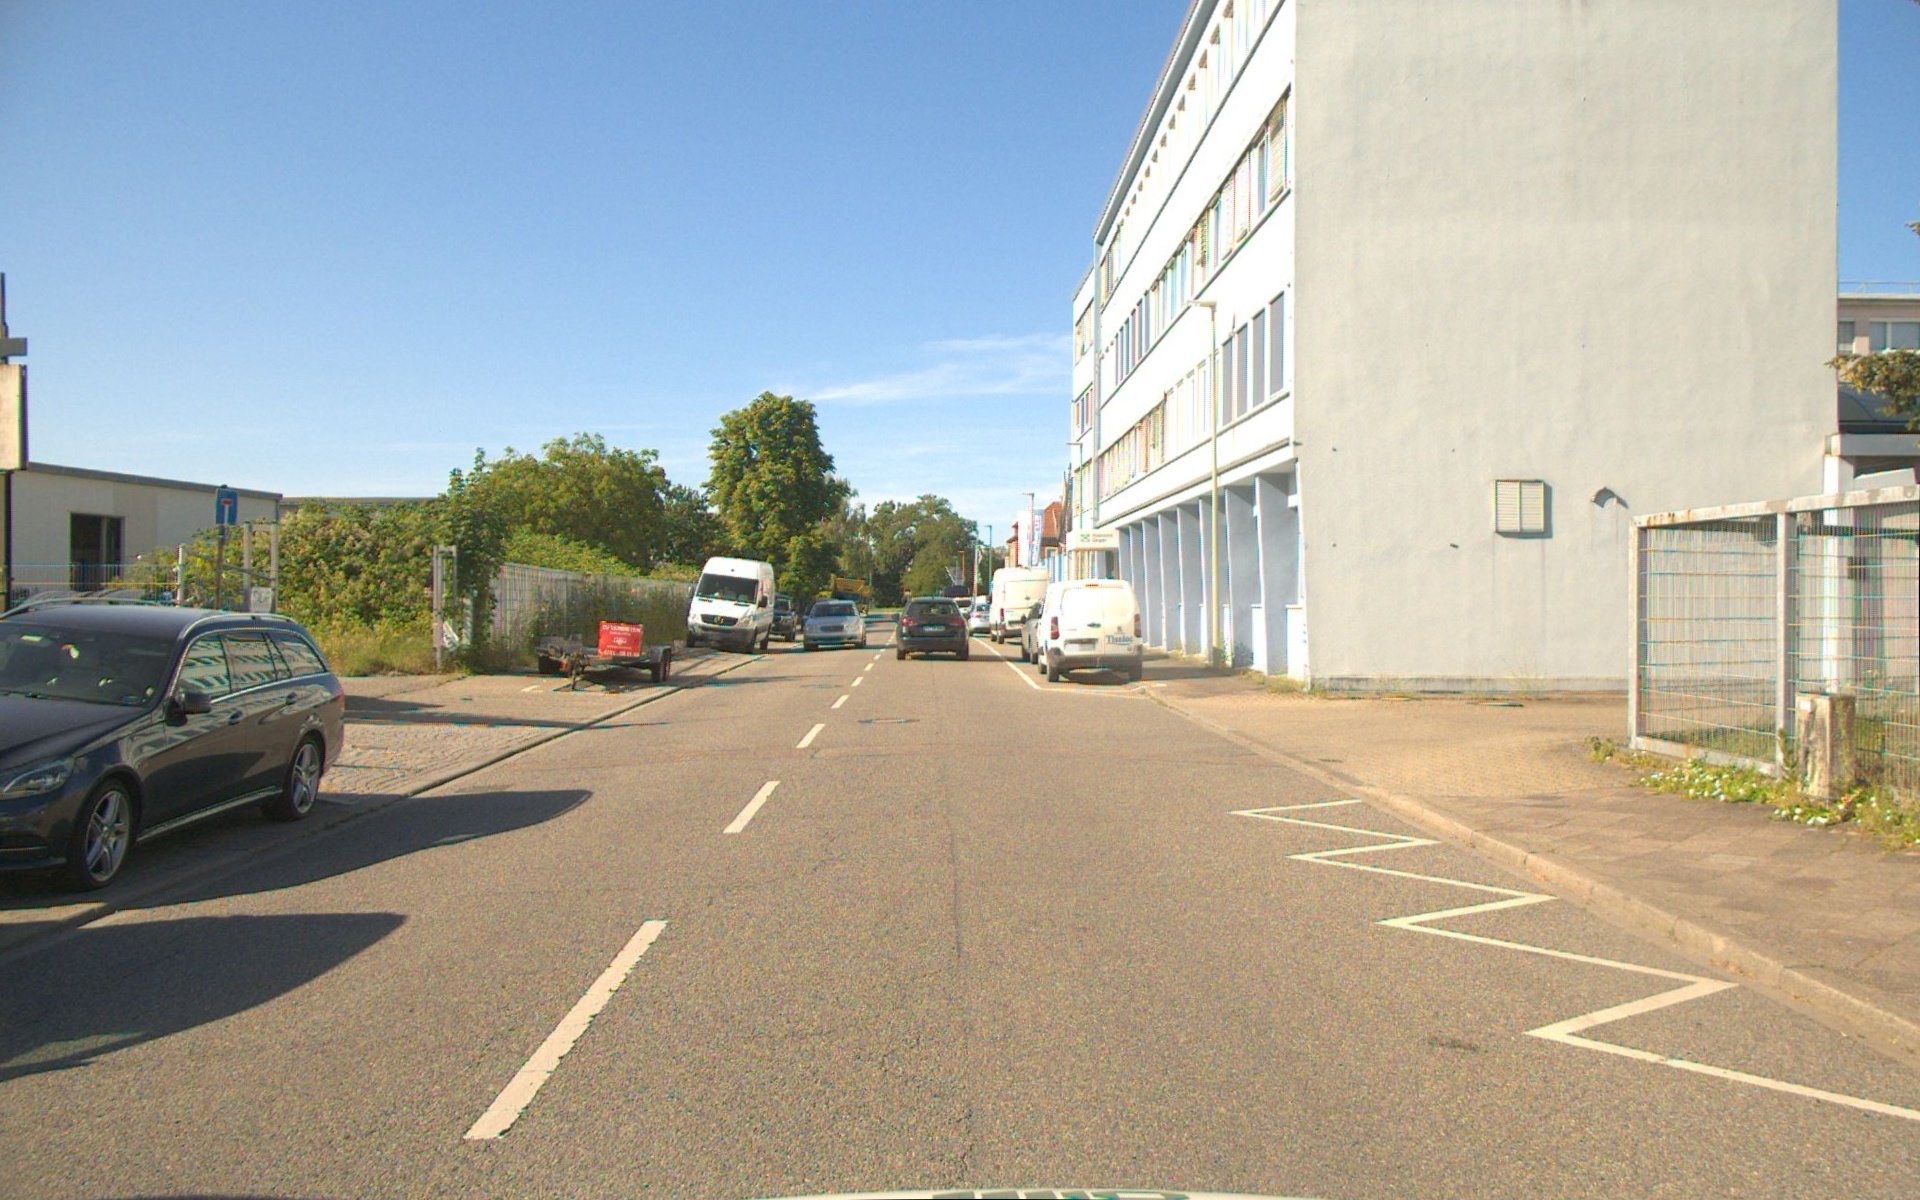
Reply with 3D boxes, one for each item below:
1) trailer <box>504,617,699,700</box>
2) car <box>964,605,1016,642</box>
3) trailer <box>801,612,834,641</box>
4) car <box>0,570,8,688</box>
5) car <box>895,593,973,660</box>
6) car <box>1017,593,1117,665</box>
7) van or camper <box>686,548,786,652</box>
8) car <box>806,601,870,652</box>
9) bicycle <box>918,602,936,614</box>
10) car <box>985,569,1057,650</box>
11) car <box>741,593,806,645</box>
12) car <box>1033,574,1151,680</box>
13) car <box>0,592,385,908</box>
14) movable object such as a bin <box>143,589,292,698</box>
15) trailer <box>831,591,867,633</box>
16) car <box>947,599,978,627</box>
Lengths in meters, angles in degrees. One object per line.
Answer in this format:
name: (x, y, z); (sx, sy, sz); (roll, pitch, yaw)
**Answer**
trailer: (-6.383, 1.001, 30.322); (2.328, 1.098, 6.243); (4, 0, -2)
car: (1.225, 1.001, 69.413); (1.856, 1.430, 5.121); (2, -1, -2)
trailer: (-7.154, 1.347, 83.425); (1.447, 1.378, 3.077); (2, -1, -2)
car: (-5.711, 0.653, 5.743); (1.952, 1.768, 4.575); (4, 0, 2)
car: (-0.637, 0.634, 40.430); (1.809, 1.557, 3.999); (0, 0, -1)
car: (2.499, 0.678, 39.756); (1.851, 1.588, 5.087); (1, -1, -2)
van or camper: (-6.555, 0.030, 49.118); (1.926, 2.731, 5.947); (5, 0, 0)
car: (-3.721, 0.809, 51.034); (1.711, 1.473, 4.359); (1, 0, -1)
bicycle: (-3.775, 0.922, 189.054); (0.797, 1.290, 2.229); (3, -1, -36)
car: (2.077, 0.297, 57.875); (1.954, 2.643, 6.048); (-1, 0, -3)
car: (-6.978, 0.711, 62.207); (1.990, 1.723, 5.103); (4, -1, -3)
car: (2.472, 0.516, 32.045); (1.850, 1.864, 5.090); (1, -1, 0)
car: (-5.603, 0.778, 11.026); (1.763, 1.536, 5.001); (4, 0, -1)
movable object such as a bin: (-10.210, 0.585, 22.753); (1.587, 1.430, 1.094); (0, -1, 26)
trailer: (-9.495, 1.072, 142.449); (2.931, 3.503, 8.156); (0, -1, -3)
car: (0.171, 0.899, 113.747); (1.848, 1.829, 5.101); (2, -1, -3)
